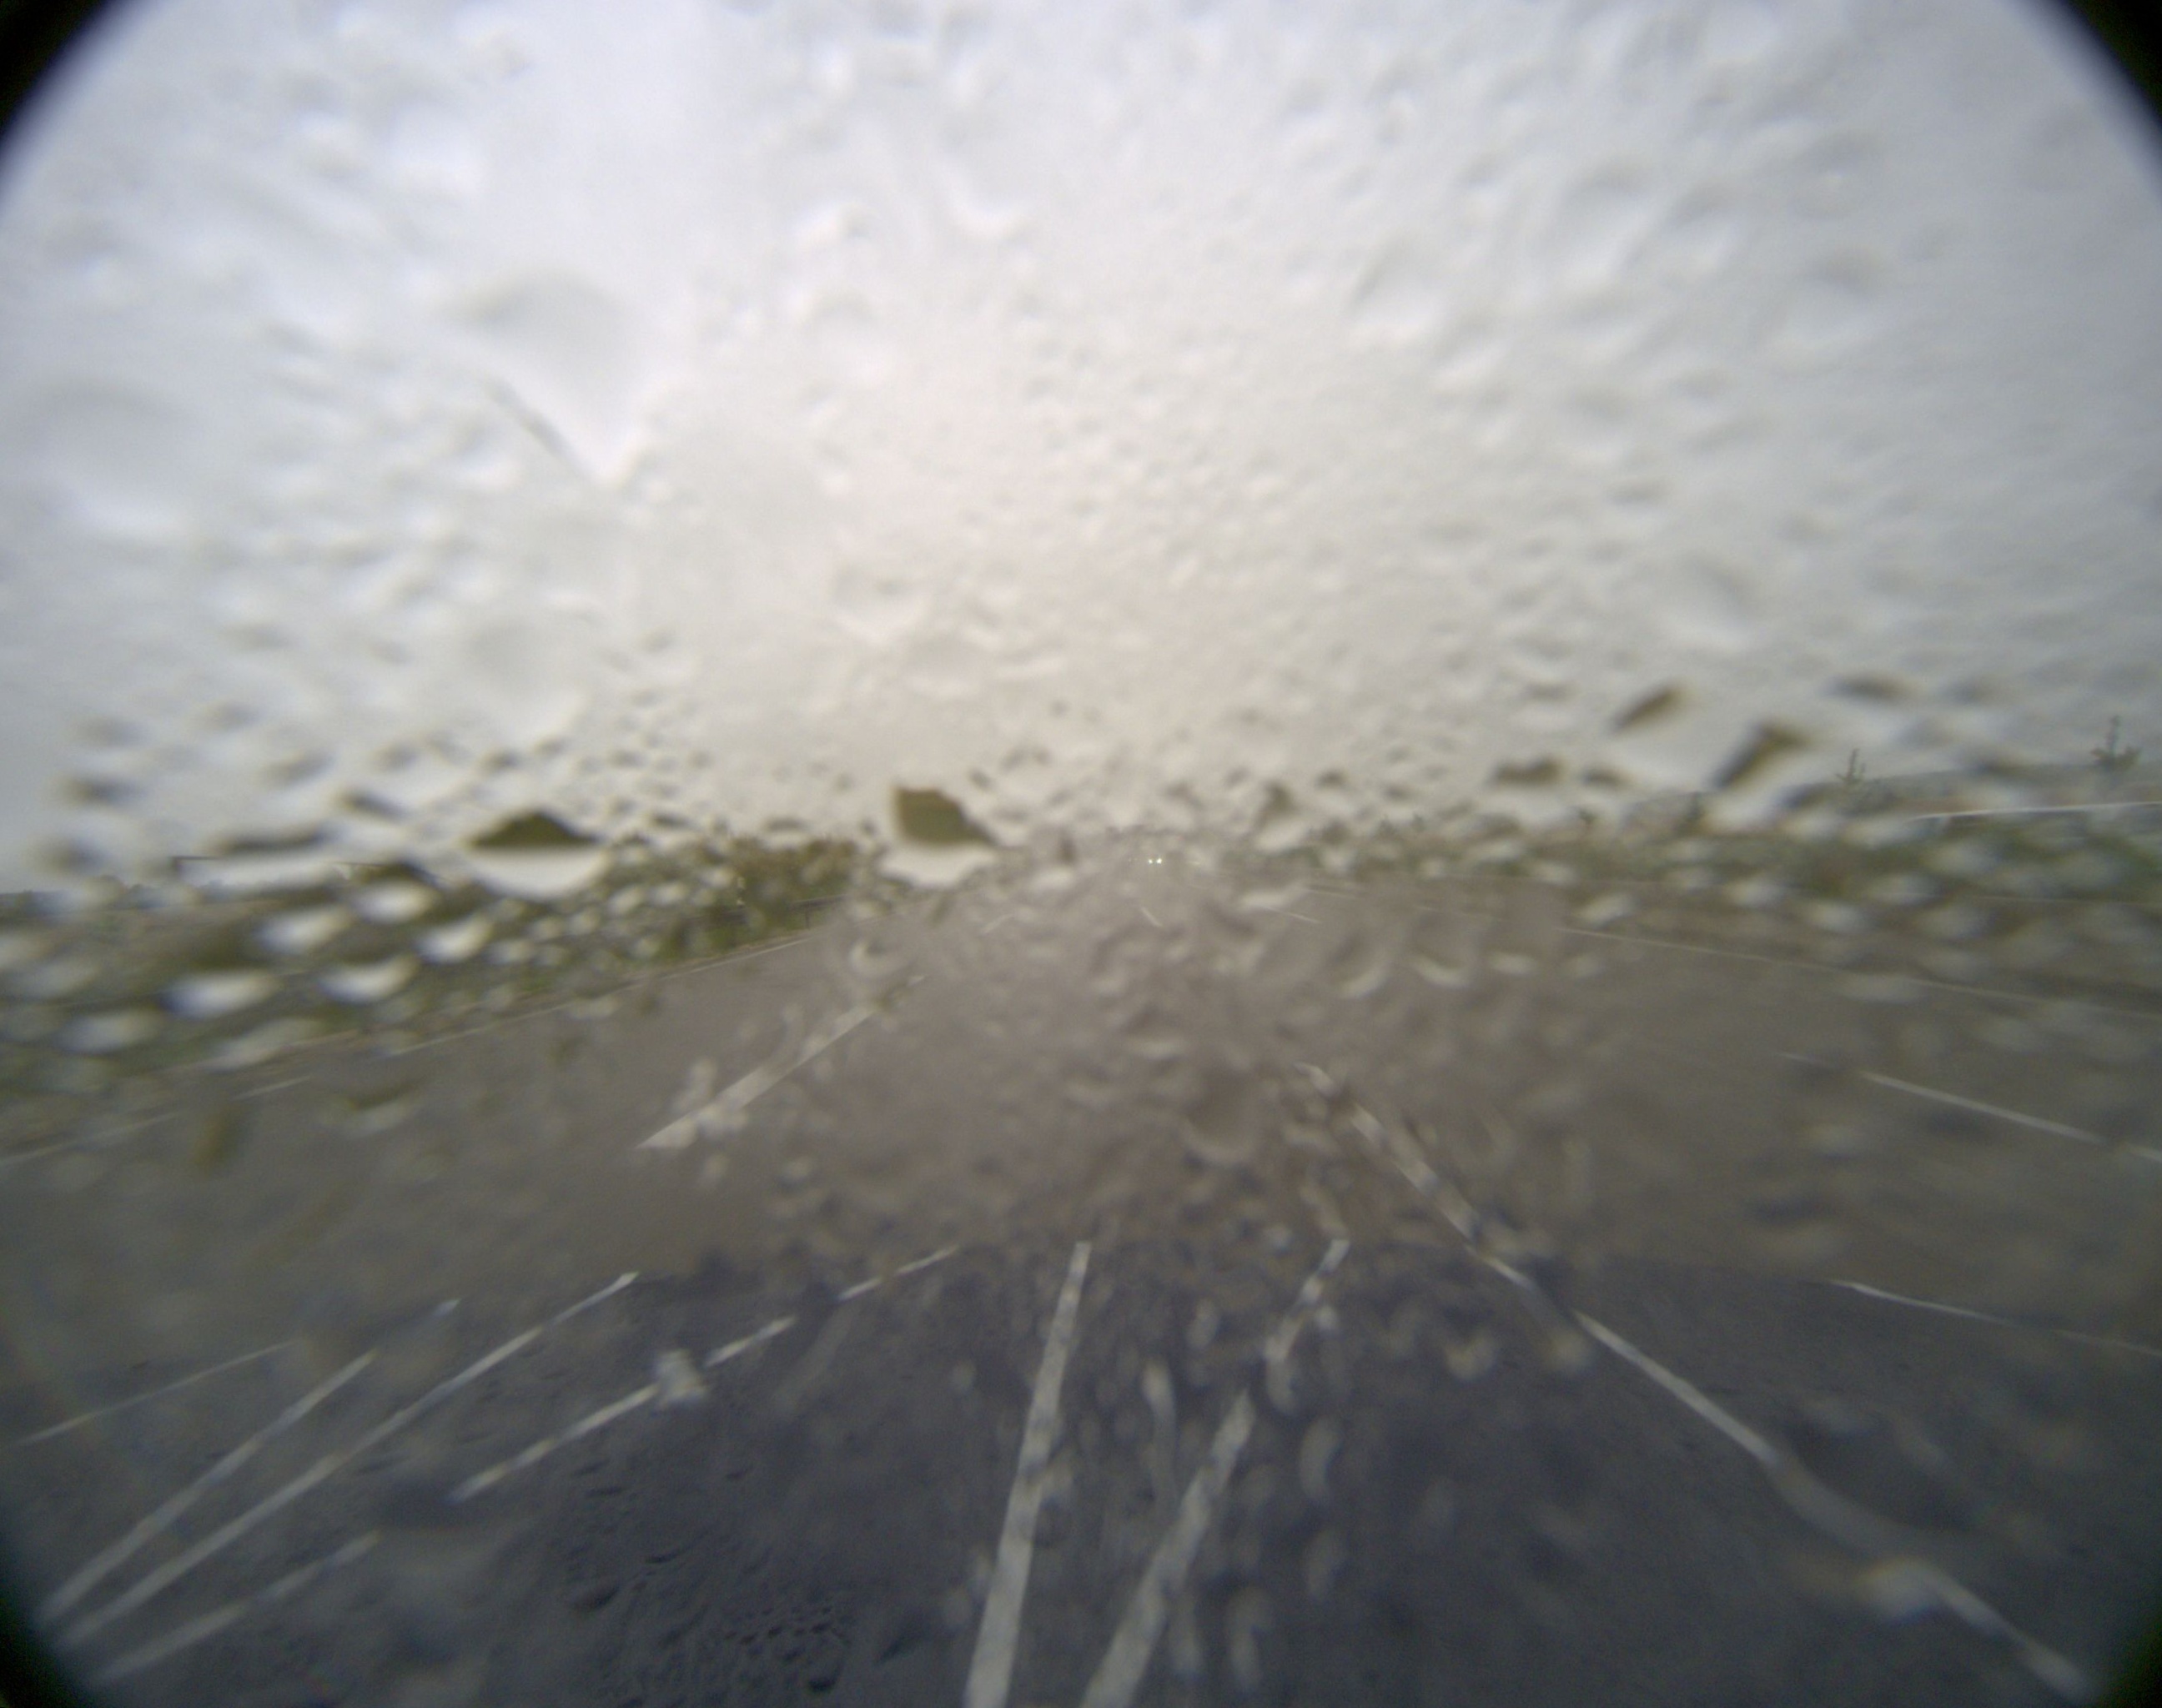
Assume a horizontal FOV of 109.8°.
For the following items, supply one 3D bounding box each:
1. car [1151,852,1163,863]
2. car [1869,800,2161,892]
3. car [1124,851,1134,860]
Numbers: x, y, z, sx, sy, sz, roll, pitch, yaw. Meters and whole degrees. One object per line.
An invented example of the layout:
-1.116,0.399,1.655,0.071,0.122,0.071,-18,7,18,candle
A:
11.955,0.557,119.689,1.700,1.543,3.735,-3,1,6,car
18.645,-0.179,15.091,1.649,1.543,4.146,-3,1,0,car
8.771,0.261,138.170,1.700,1.543,3.733,-3,1,2,car
